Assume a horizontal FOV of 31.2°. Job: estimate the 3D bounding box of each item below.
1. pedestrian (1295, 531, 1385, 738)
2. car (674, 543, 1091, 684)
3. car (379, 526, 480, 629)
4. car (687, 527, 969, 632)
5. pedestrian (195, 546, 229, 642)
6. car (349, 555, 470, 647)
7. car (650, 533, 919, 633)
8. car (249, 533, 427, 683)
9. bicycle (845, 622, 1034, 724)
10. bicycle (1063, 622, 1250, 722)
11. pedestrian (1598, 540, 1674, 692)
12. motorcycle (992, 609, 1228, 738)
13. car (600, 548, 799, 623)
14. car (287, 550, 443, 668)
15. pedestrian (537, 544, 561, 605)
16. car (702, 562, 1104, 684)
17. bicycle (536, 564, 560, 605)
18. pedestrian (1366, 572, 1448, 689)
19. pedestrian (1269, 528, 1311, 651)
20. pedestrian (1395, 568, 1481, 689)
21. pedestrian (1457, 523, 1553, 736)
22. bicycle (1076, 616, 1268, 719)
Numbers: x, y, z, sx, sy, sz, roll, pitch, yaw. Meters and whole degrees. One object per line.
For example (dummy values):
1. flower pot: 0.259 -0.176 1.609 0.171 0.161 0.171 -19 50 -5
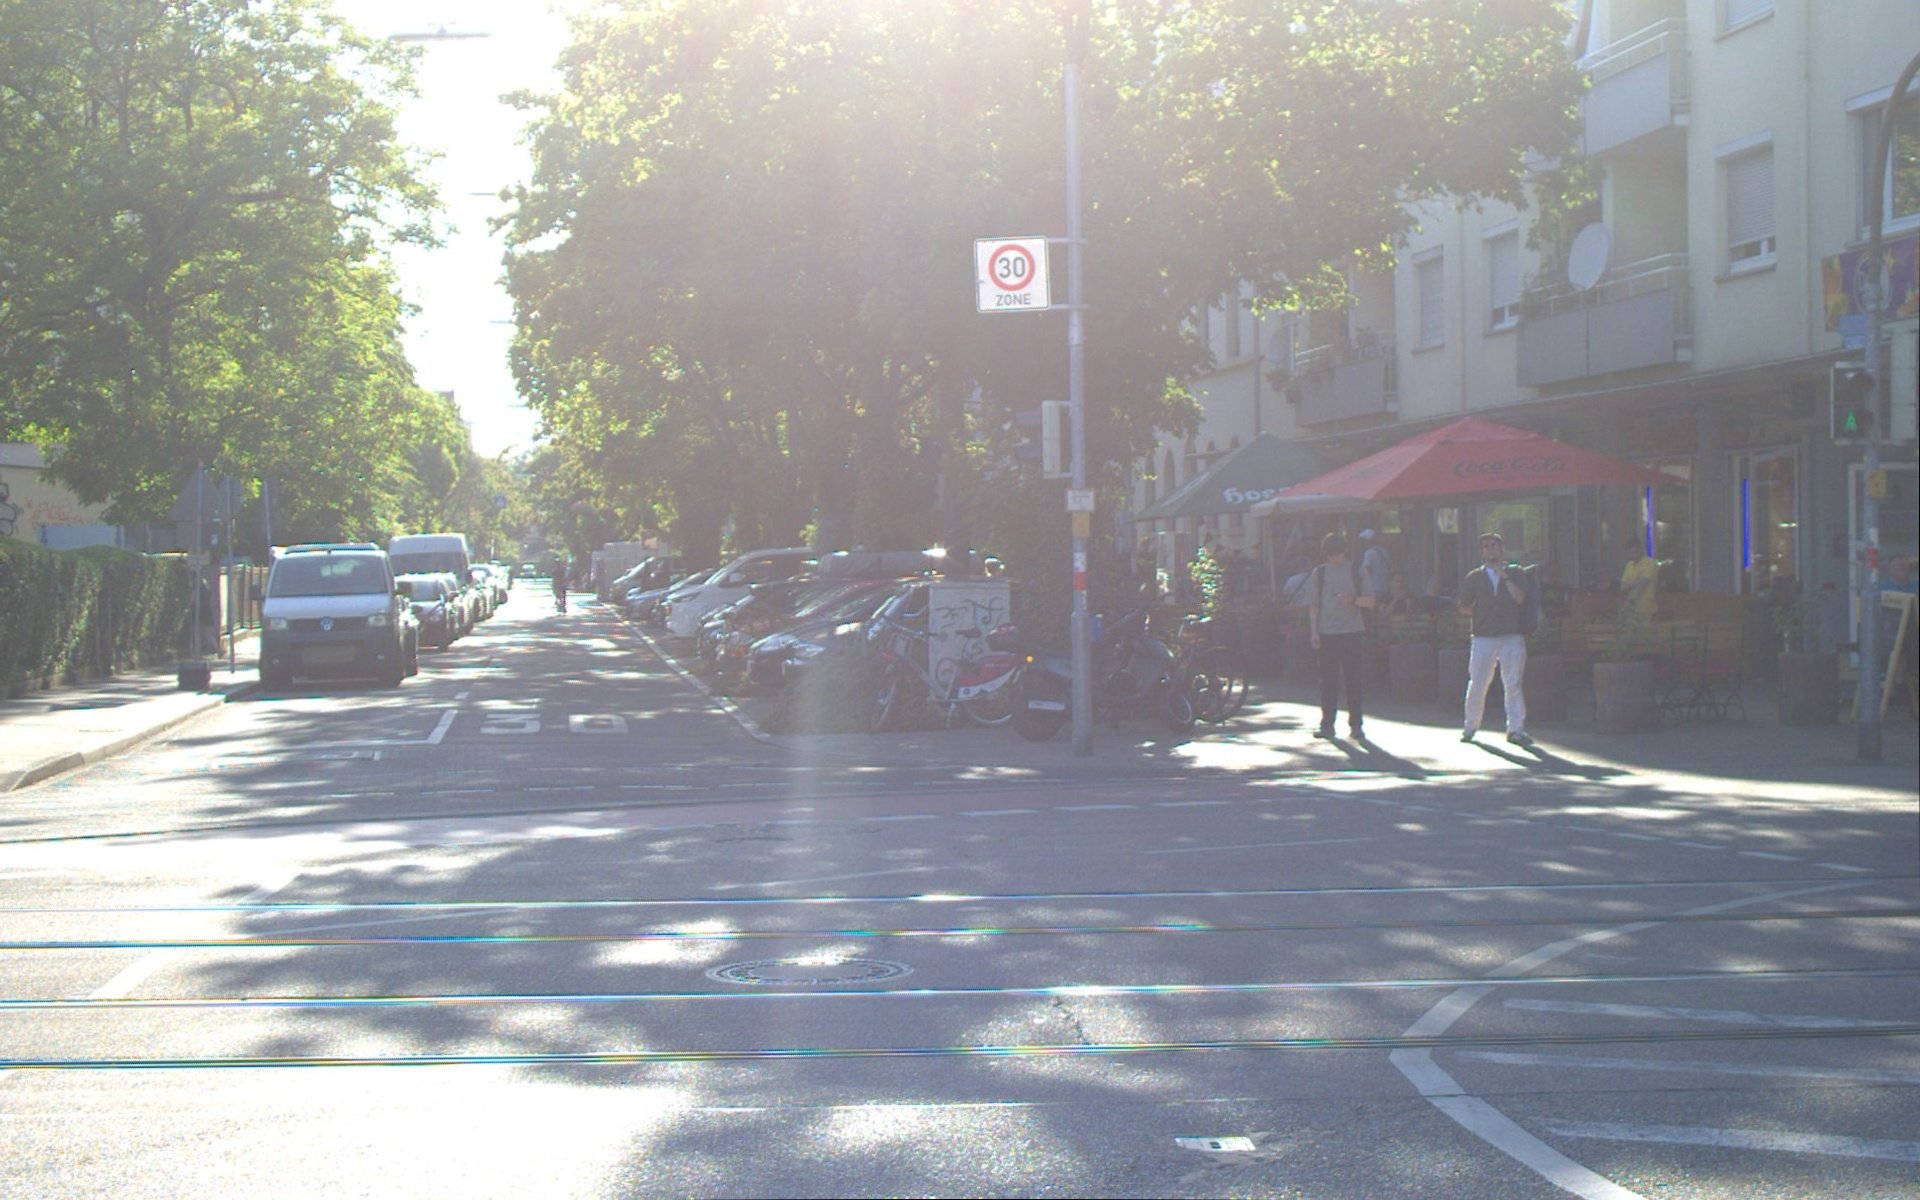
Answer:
1. pedestrian: 3.232 0.285 29.297 0.691 1.744 0.795 0 1 1
2. car: -1.140 0.202 48.888 5.619 1.917 2.363 0 -1 -10
3. car: -13.308 -0.574 86.027 2.354 2.506 5.311 0 1 -10
4. car: -2.544 -0.378 65.507 5.089 1.917 2.363 0 -1 -10
5. pedestrian: -13.514 -0.115 62.088 0.579 1.725 0.608 -1 1 -13
6. car: -11.296 -0.011 70.278 2.354 1.789 5.311 0 1 -10
7. car: -3.540 -0.329 68.640 5.089 1.917 2.363 0 -1 -10
8. car: -8.860 0.075 49.085 2.354 2.007 5.311 0 1 -10
9. bicycle: -0.203 0.691 32.714 1.723 0.929 0.672 0 1 -7
10. bicycle: 1.893 0.695 33.236 1.723 0.929 0.562 0 1 -7
11. pedestrian: 7.135 0.159 36.286 0.617 1.586 0.479 -1 1 -24
12. motorcycle: 1.340 0.649 30.881 1.951 1.105 0.838 -1 0 -12
13. car: -6.997 -0.370 92.119 5.089 1.917 2.363 0 -1 -10
14. car: -9.568 0.111 55.256 2.354 1.789 5.311 0 1 -10
15. pedestrian: -13.569 -0.854 113.405 0.736 2.007 0.743 0 1 -9
16. car: -0.816 0.322 46.317 5.089 1.552 2.363 0 -1 -10
17. bicycle: -13.599 -0.511 113.391 0.766 1.319 1.924 0 1 -7
18. pedestrian: 5.270 0.349 40.597 0.811 1.358 0.914 -1 0 -2
19. pedestrian: 5.439 -0.181 56.613 0.535 2.007 0.512 0 0 -15
20. pedestrian: 5.457 0.318 39.279 0.811 1.358 0.914 -1 0 -2
21. pedestrian: 4.511 0.236 28.473 0.691 1.744 0.840 0 1 3
22. bicycle: 1.997 0.632 32.474 1.723 0.929 0.562 0 1 -7
